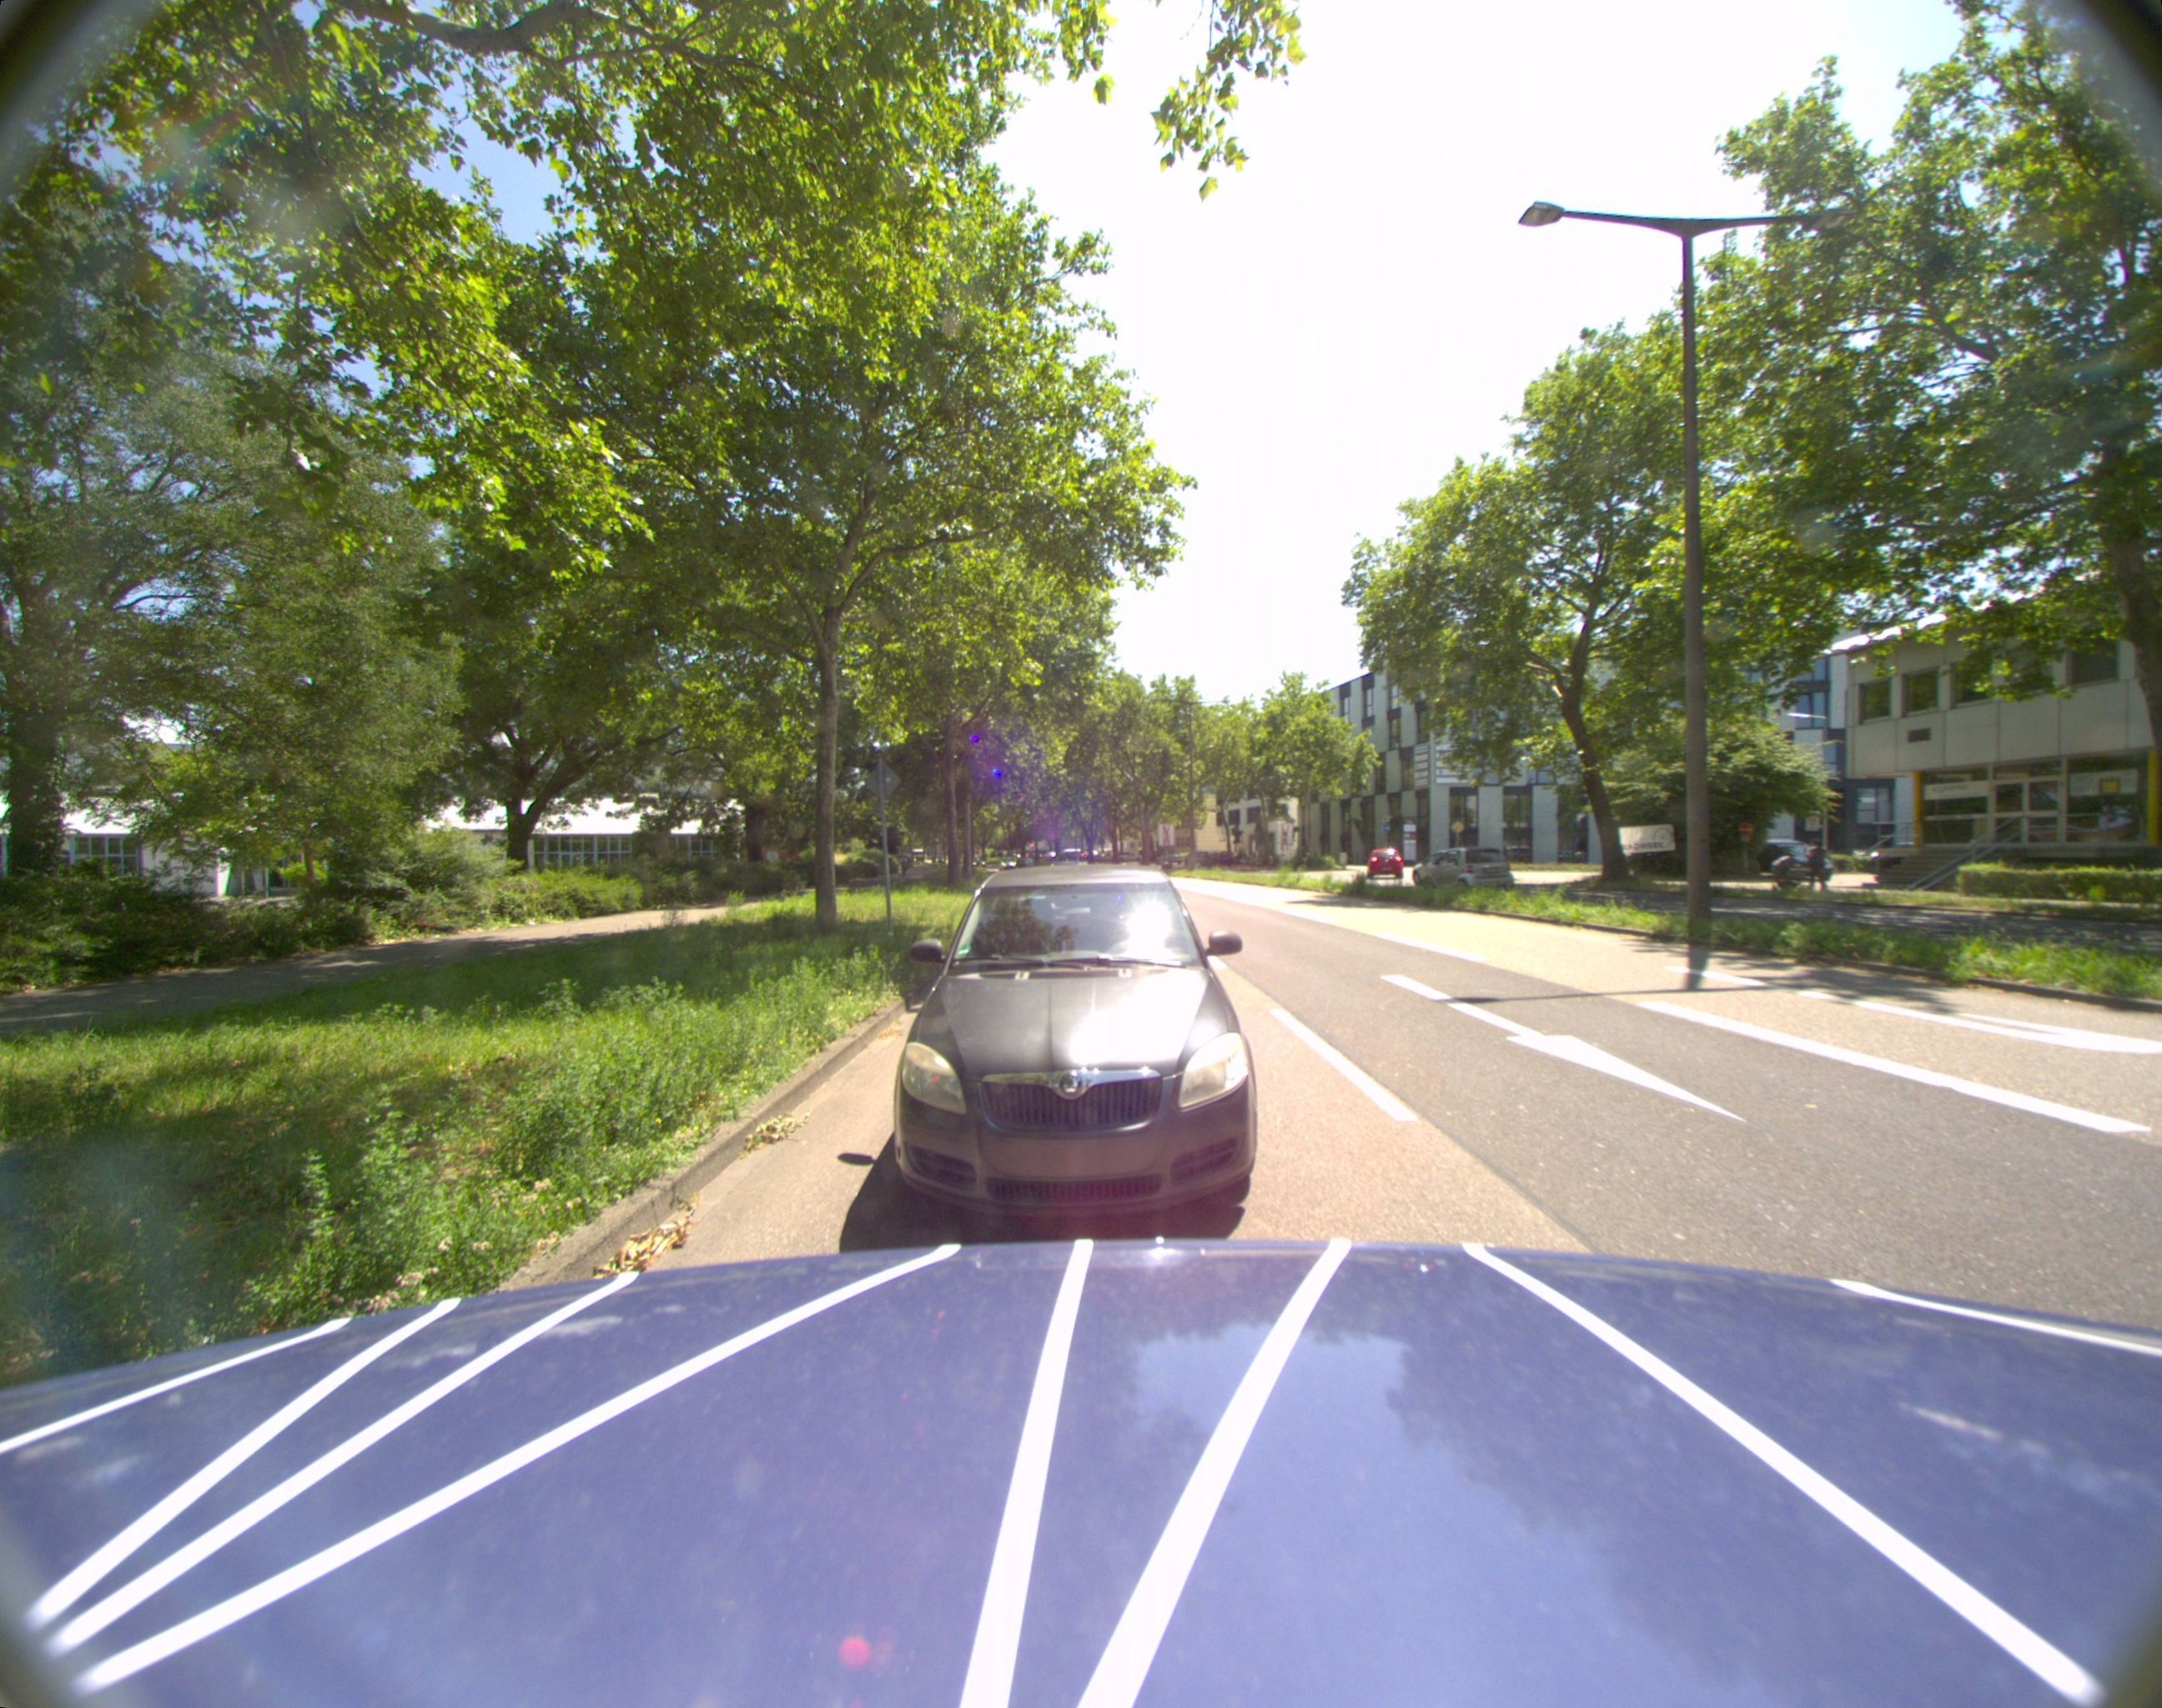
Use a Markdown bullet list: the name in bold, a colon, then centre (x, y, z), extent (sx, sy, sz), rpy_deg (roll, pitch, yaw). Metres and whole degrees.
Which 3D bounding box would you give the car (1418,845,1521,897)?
- **car**: centre (12.231, 0.502, 24.102), extent (1.537, 1.519, 2.852), rpy_deg (-1, 0, -9)

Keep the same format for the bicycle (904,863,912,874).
- **bicycle**: centre (-13.300, 1.098, 58.523), extent (0.465, 0.760, 1.667), rpy_deg (-1, 0, -8)

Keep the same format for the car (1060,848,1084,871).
- **car**: centre (-0.703, 0.423, 61.862), extent (1.859, 1.745, 4.648), rpy_deg (-1, 0, 0)

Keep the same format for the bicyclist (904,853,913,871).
- **bicyclist**: centre (-13.320, 0.622, 58.577), extent (0.601, 1.331, 0.665), rpy_deg (-1, 1, -8)

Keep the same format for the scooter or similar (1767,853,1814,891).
- **scooter or similar**: centre (22.267, 0.564, 23.869), extent (0.680, 1.157, 0.859), rpy_deg (-1, 1, -1)

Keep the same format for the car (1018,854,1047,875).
- **car**: centre (-3.672, 0.785, 58.207), extent (1.878, 1.448, 3.786), rpy_deg (-2, 0, 1)

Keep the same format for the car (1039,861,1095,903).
- **car**: centre (-0.437, 0.946, 27.050), extent (1.791, 1.325, 3.742), rpy_deg (-2, 0, 1)

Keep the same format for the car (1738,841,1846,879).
- **car**: centre (32.816, 0.245, 35.207), extent (1.819, 1.638, 3.528), rpy_deg (-2, 1, 4)

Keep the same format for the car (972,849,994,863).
- **car**: centre (-13.385, 0.273, 103.553), extent (2.002, 1.871, 3.993), rpy_deg (-1, 0, -21)

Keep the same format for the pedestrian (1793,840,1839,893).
- **pedestrian**: centre (22.275, 0.372, 23.033), extent (0.643, 1.551, 0.791), rpy_deg (-1, 1, -2)

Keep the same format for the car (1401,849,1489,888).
- **car**: centre (14.529, 0.539, 30.554), extent (1.756, 1.435, 3.672), rpy_deg (-1, 0, 0)

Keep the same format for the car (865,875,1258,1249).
- **car**: centre (-0.058, 0.951, 5.192), extent (1.654, 1.453, 3.865), rpy_deg (-1, 0, 1)

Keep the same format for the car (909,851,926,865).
- **car**: centre (-33.933, 0.773, 157.788), extent (2.922, 2.639, 6.356), rpy_deg (-1, 1, -17)

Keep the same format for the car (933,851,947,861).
- **car**: centre (-25.348, 0.376, 136.731), extent (2.001, 1.783, 3.994), rpy_deg (-1, 0, -16)

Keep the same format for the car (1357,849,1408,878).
- **car**: centre (15.588, 0.464, 39.470), extent (1.675, 1.453, 3.532), rpy_deg (-1, 0, 8)

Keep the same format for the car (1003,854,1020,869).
- **car**: centre (-7.067, 0.728, 77.457), extent (1.623, 1.437, 3.650), rpy_deg (-1, 0, -3)

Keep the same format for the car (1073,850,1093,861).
- **car**: centre (0.286, 0.194, 108.142), extent (1.956, 1.600, 3.995), rpy_deg (-1, 0, -13)
